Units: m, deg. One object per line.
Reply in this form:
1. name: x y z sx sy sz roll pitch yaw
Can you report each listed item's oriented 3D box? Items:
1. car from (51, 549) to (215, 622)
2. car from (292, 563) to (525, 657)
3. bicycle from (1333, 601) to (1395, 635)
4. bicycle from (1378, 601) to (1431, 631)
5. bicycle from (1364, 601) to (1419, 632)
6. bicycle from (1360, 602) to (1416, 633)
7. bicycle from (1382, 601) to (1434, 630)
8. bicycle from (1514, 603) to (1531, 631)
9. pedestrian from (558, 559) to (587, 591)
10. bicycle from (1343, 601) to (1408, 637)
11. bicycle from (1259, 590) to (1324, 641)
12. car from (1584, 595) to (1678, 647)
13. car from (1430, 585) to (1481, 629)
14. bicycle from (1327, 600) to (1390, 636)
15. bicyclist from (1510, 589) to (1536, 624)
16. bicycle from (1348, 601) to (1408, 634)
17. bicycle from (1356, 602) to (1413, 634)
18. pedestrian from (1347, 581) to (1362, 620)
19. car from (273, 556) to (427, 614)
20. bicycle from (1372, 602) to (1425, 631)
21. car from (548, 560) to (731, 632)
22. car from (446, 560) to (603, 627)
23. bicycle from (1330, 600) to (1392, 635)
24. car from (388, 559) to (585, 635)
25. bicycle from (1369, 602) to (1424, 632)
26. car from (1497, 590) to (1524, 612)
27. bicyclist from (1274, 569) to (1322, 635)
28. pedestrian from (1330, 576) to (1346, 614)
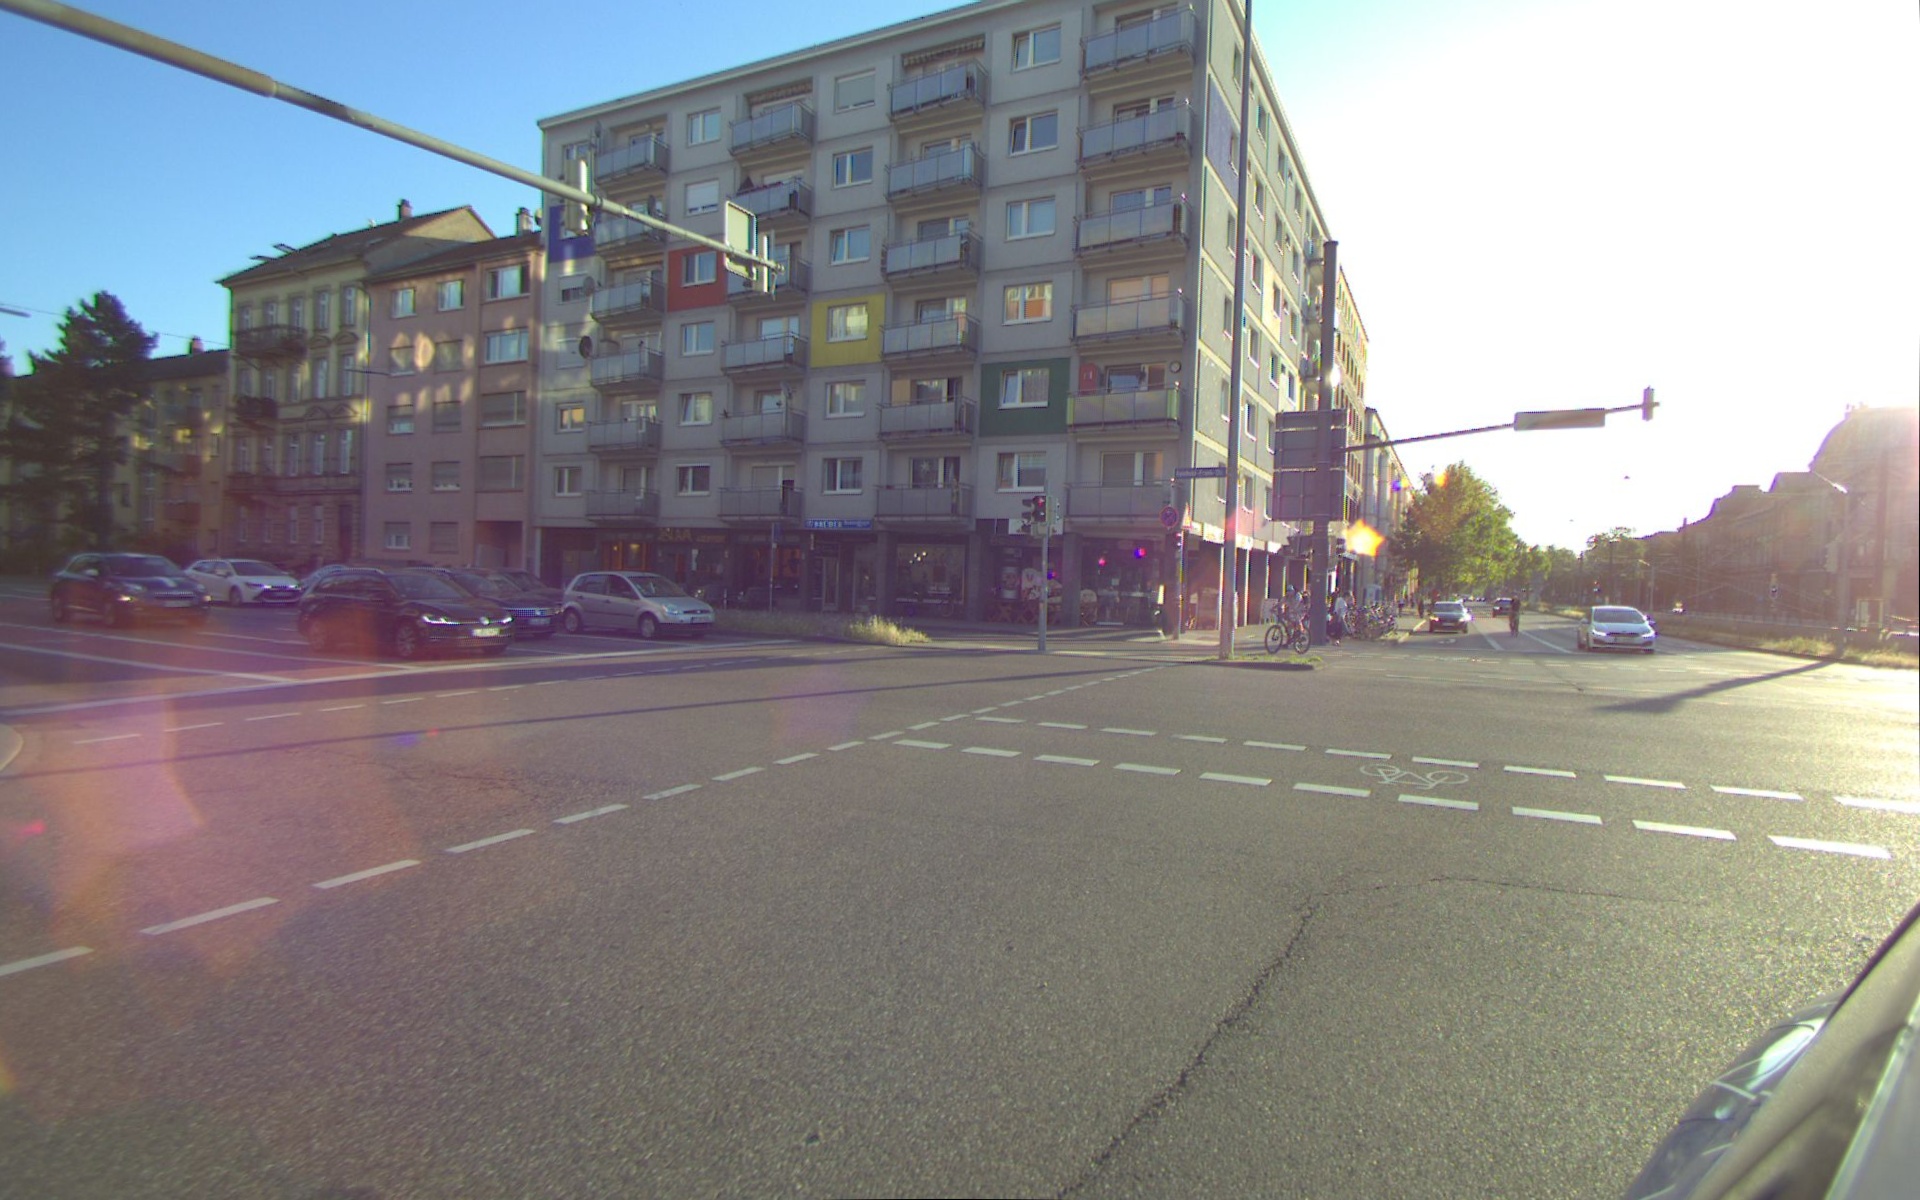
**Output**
1. car: -18.581 -0.359 22.710 3.897 1.469 1.782 2 1 34
2. car: -9.688 0.087 17.692 4.161 1.443 1.909 2 2 34
3. bicycle: 14.146 0.610 35.461 1.942 1.134 0.453 2 0 31
4. bicycle: 18.256 0.651 41.580 1.942 1.134 0.453 2 0 31
5. bicycle: 16.806 0.648 39.439 1.942 1.134 0.453 2 0 31
6. bicycle: 16.386 0.656 38.777 1.942 1.134 0.453 2 0 31
7. bicycle: 18.807 0.631 42.465 1.942 1.134 0.453 2 0 31
8. bicycle: 25.254 0.750 45.449 0.570 1.215 2.184 1 0 28
9. pedestrian: -16.377 -1.041 42.791 0.887 1.314 1.047 1 0 -36
10. bicycle: 13.852 0.613 33.784 1.942 1.134 0.453 2 0 31
11. bicycle: 8.072 0.384 24.611 1.935 1.197 0.490 1 0 -38
12. car: 21.362 0.627 32.374 1.936 1.512 3.924 1 0 25
13. car: 24.009 0.320 49.163 1.978 2.039 3.968 1 0 24
14. bicycle: 13.602 0.601 34.545 1.942 1.134 0.453 2 0 31
15. bicyclist: 25.216 0.290 45.338 0.987 1.557 0.914 1 0 29
16. bicycle: 15.230 0.618 36.901 1.942 1.134 0.453 2 0 31
17. bicycle: 15.947 0.653 38.032 1.942 1.134 0.453 2 0 31
18. pedestrian: 21.276 0.028 54.576 0.650 2.039 0.744 1 0 29
19. car: -17.555 -0.445 29.078 4.497 1.514 1.689 2 1 28
20. bicycle: 17.729 0.656 40.930 1.942 1.134 0.453 2 0 31
21. car: -7.284 -0.119 22.914 3.985 1.487 1.896 2 0 34
22. car: -10.976 -0.197 25.419 4.154 1.541 1.639 2 1 34
23. bicycle: 13.861 0.600 35.005 1.942 1.134 0.453 2 0 31
24. car: -10.262 -0.109 21.869 4.214 1.487 1.976 2 0 34
25. bicycle: 17.438 0.658 40.456 1.942 1.134 0.453 2 0 31
26. car: 48.701 0.066 89.515 1.983 1.771 3.958 2 1 30
27. bicyclist: 8.283 0.040 24.825 0.720 1.588 0.823 1 0 -35
28. pedestrian: 20.526 -0.256 54.931 0.711 2.039 0.640 2 1 29
